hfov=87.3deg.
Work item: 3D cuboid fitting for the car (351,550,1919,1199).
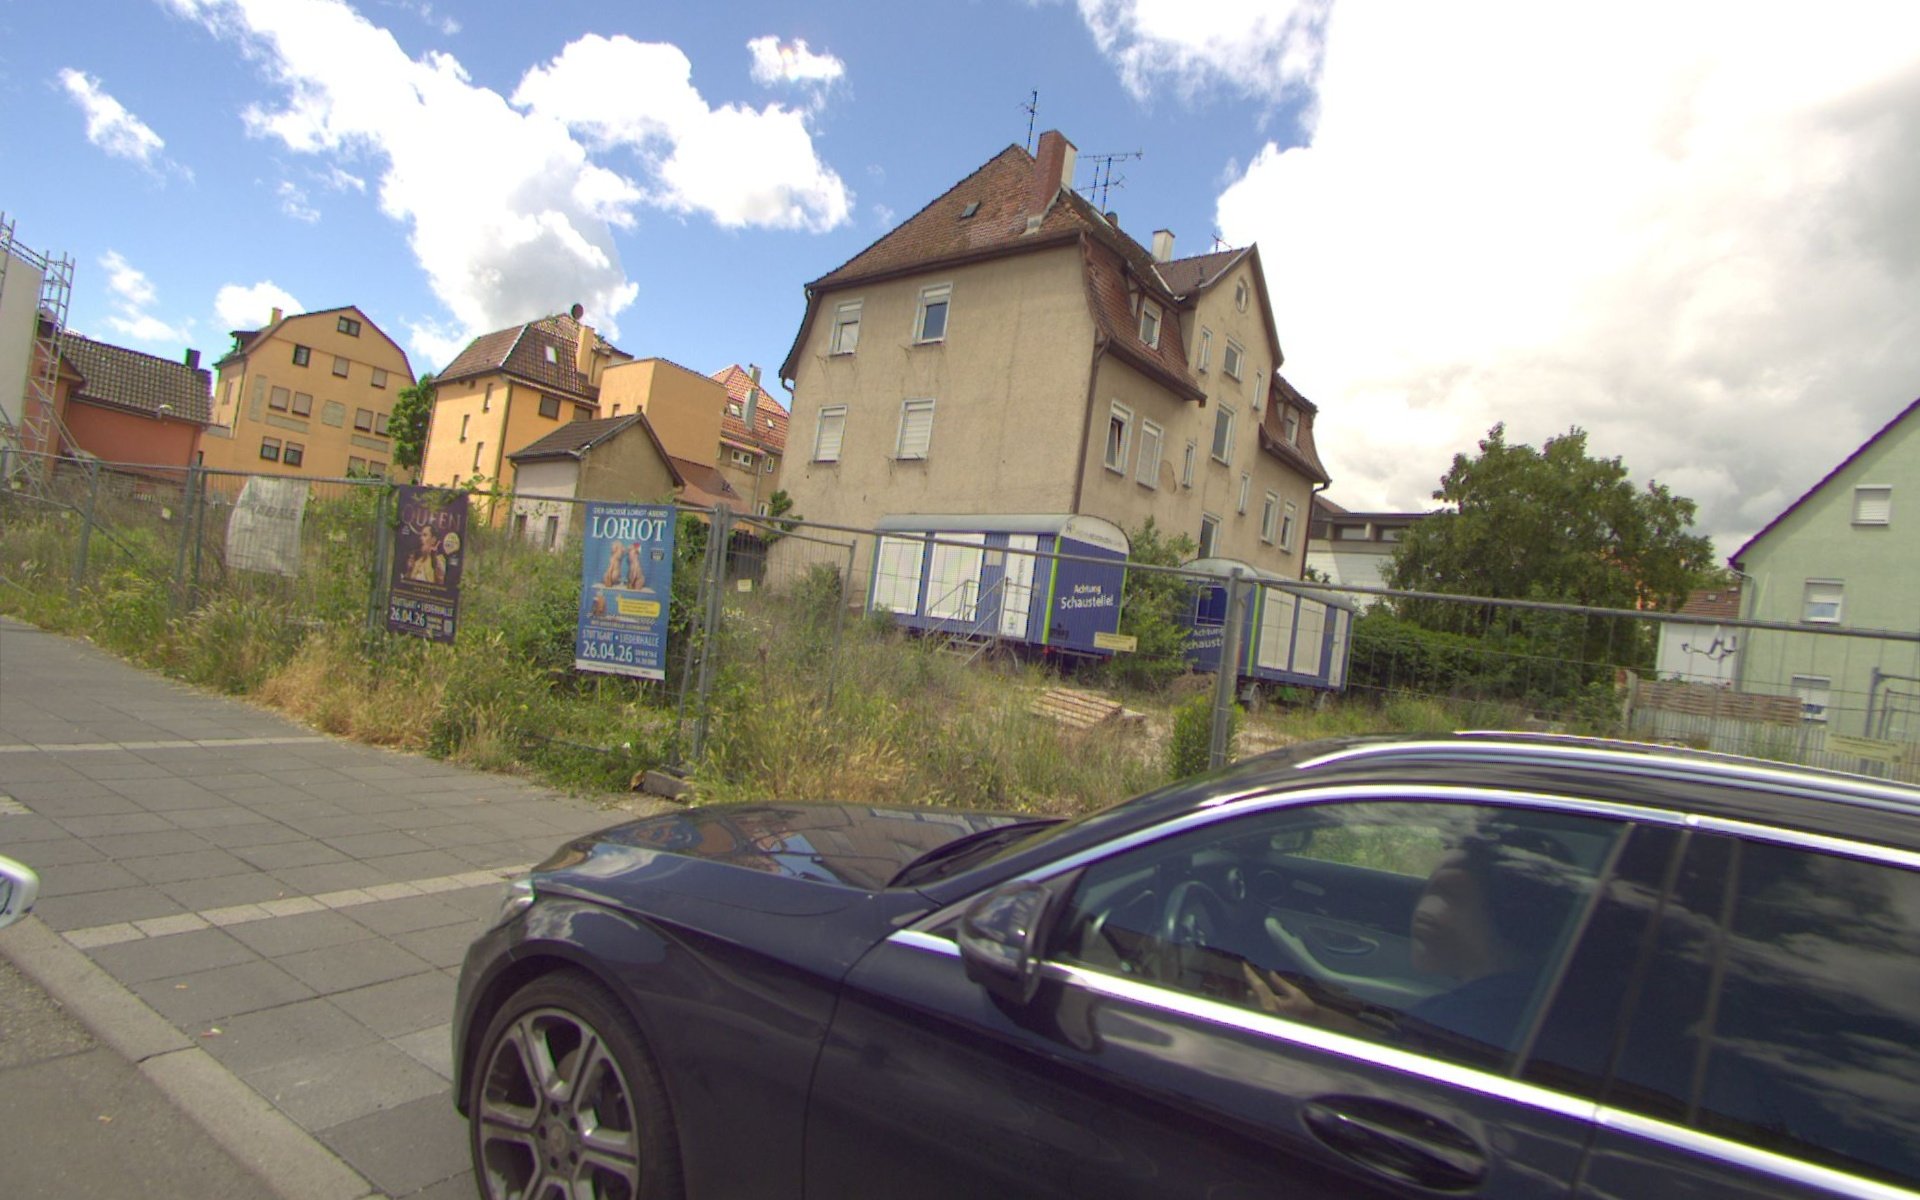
[{"bbox_3d":[0.949,0.936,2.044,4.401,1.469,1.785,7,-1,31],"label":"car"}]

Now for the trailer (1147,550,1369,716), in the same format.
[{"bbox_3d":[7.313,0.914,24.142,2.379,3.158,6.134,7,-2,42],"label":"trailer"}]

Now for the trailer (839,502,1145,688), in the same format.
[{"bbox_3d":[0.454,-0.231,20.867,2.399,3.158,6.084,9,-2,-44],"label":"trailer"}]

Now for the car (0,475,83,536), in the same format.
[{"bbox_3d":[-21.231,-2.191,22.959,2.405,1.134,1.074,8,0,31],"label":"car"}]
